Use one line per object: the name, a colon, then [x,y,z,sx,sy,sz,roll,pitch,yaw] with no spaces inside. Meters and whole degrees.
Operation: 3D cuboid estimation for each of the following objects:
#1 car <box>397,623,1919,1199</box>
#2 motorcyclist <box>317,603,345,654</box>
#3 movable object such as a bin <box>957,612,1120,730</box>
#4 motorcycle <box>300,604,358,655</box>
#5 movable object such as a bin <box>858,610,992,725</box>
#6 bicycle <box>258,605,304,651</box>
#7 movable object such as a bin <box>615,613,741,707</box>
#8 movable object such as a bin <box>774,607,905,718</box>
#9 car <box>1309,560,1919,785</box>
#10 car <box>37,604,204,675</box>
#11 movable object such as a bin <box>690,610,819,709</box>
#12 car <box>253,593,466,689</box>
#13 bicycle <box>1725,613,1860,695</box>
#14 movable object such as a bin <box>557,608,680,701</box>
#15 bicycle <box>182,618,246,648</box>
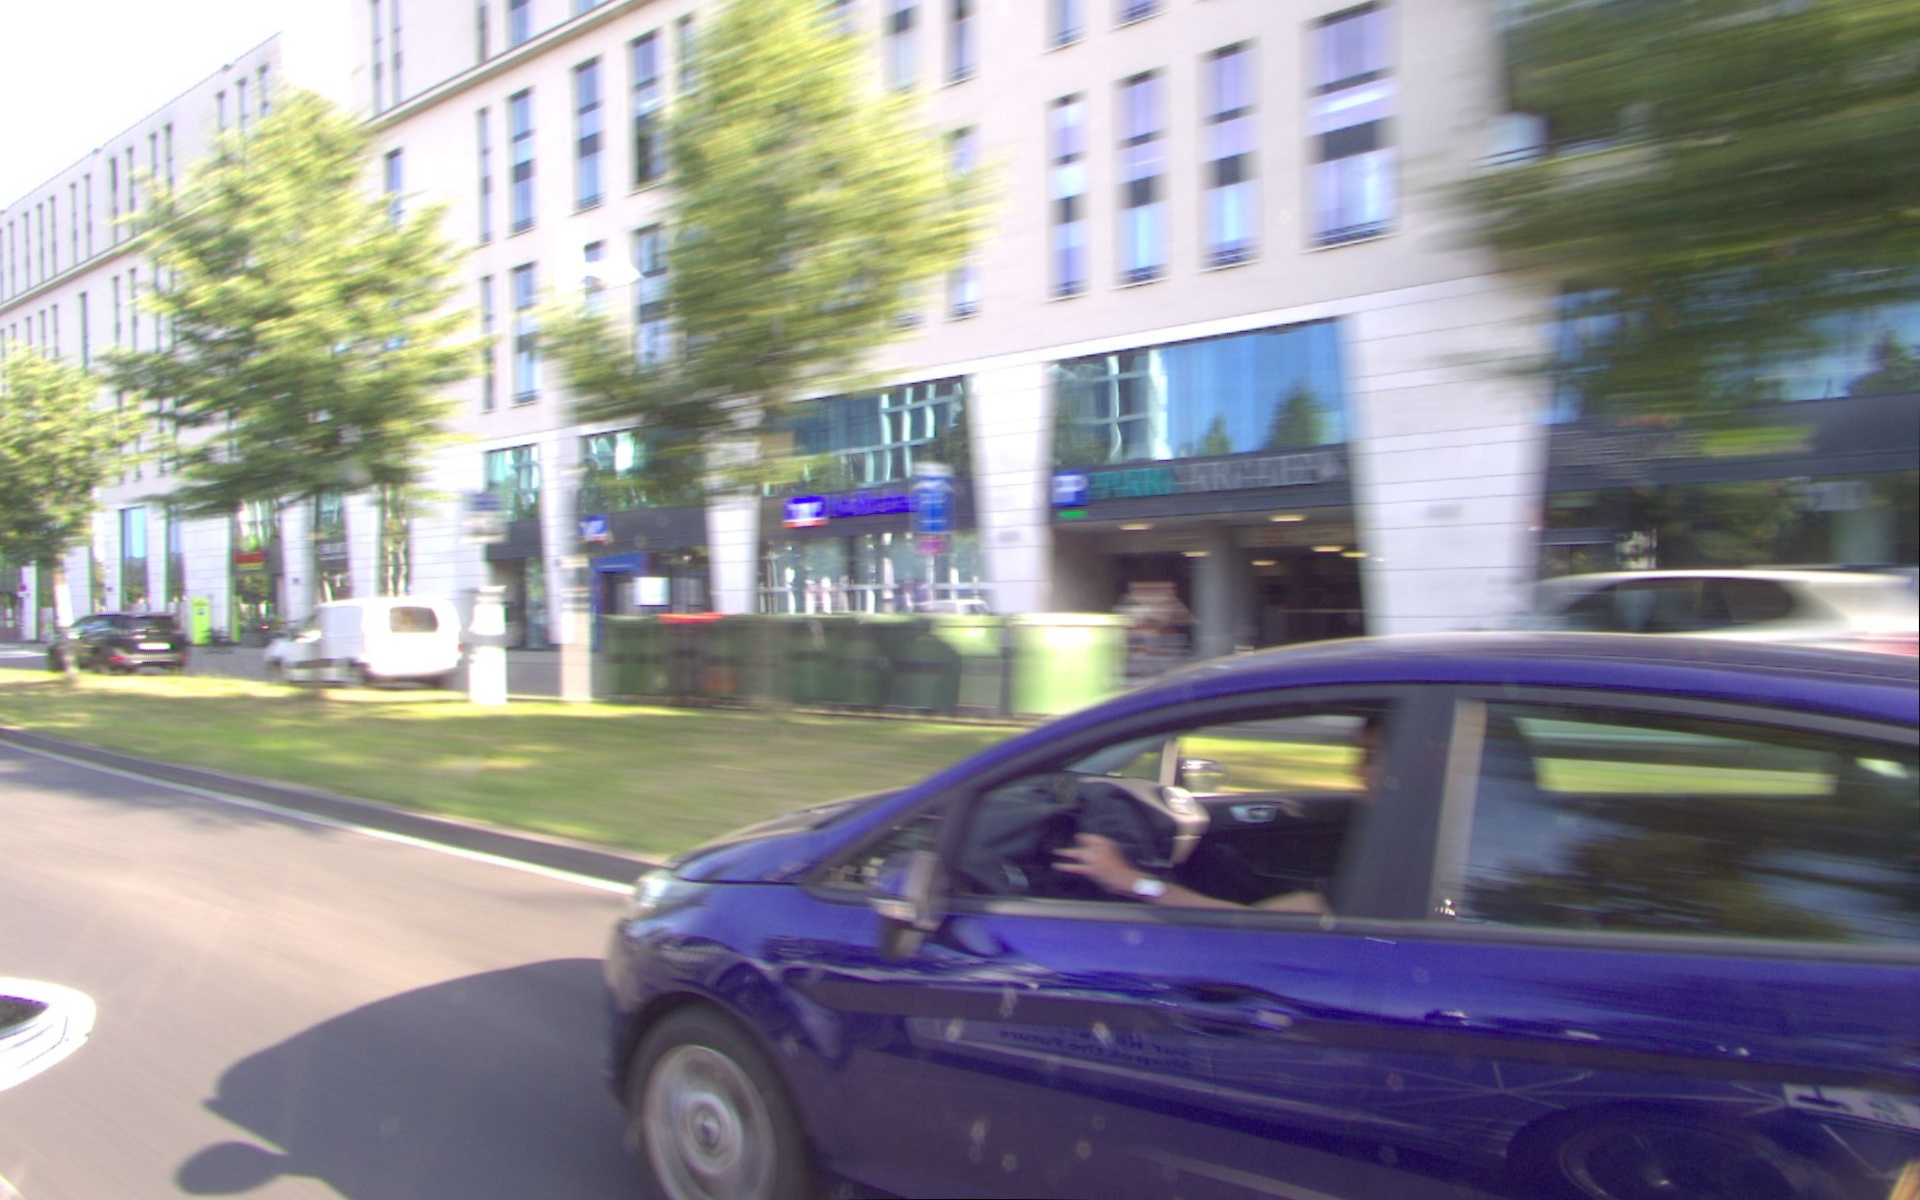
car: [0.444,0.800,2.509,3.851,1.442,1.558,-1,-2,31]
motorcyclist: [-21.015,0.935,33.459,0.411,1.663,0.622,0,2,28]
movable object such as a bin: [0.897,0.789,11.605,1.383,1.252,1.328,1,-2,-31]
motorcycle: [-21.093,0.985,33.474,1.982,1.640,0.699,-1,3,30]
movable object such as a bin: [-0.405,0.803,12.269,1.173,1.318,1.277,-1,-2,28]
bicycle: [-24.826,1.027,36.594,2.181,1.639,0.554,-2,-2,32]
movable object such as a bin: [-3.986,0.837,14.234,1.173,1.252,1.277,-1,-2,28]
movable object such as a bin: [-1.543,0.786,12.954,1.173,1.334,1.277,-1,-2,28]
car: [5.794,0.555,9.040,4.776,1.652,1.728,-1,0,29]
car: [-22.102,1.003,26.321,4.607,1.730,1.895,0,-2,30]
movable object such as a bin: [-2.762,0.783,13.552,1.173,1.252,1.277,-1,-2,28]
car: [-12.030,0.812,20.022,4.232,1.733,1.825,-1,-2,30]
bicycle: [11.660,0.749,14.084,0.342,1.088,1.511,0,-2,-17]
movable object such as a bin: [-5.031,0.793,14.816,1.160,1.308,1.277,-1,-2,28]
bicycle: [-29.000,1.285,38.957,1.870,1.098,0.634,-1,0,-14]
